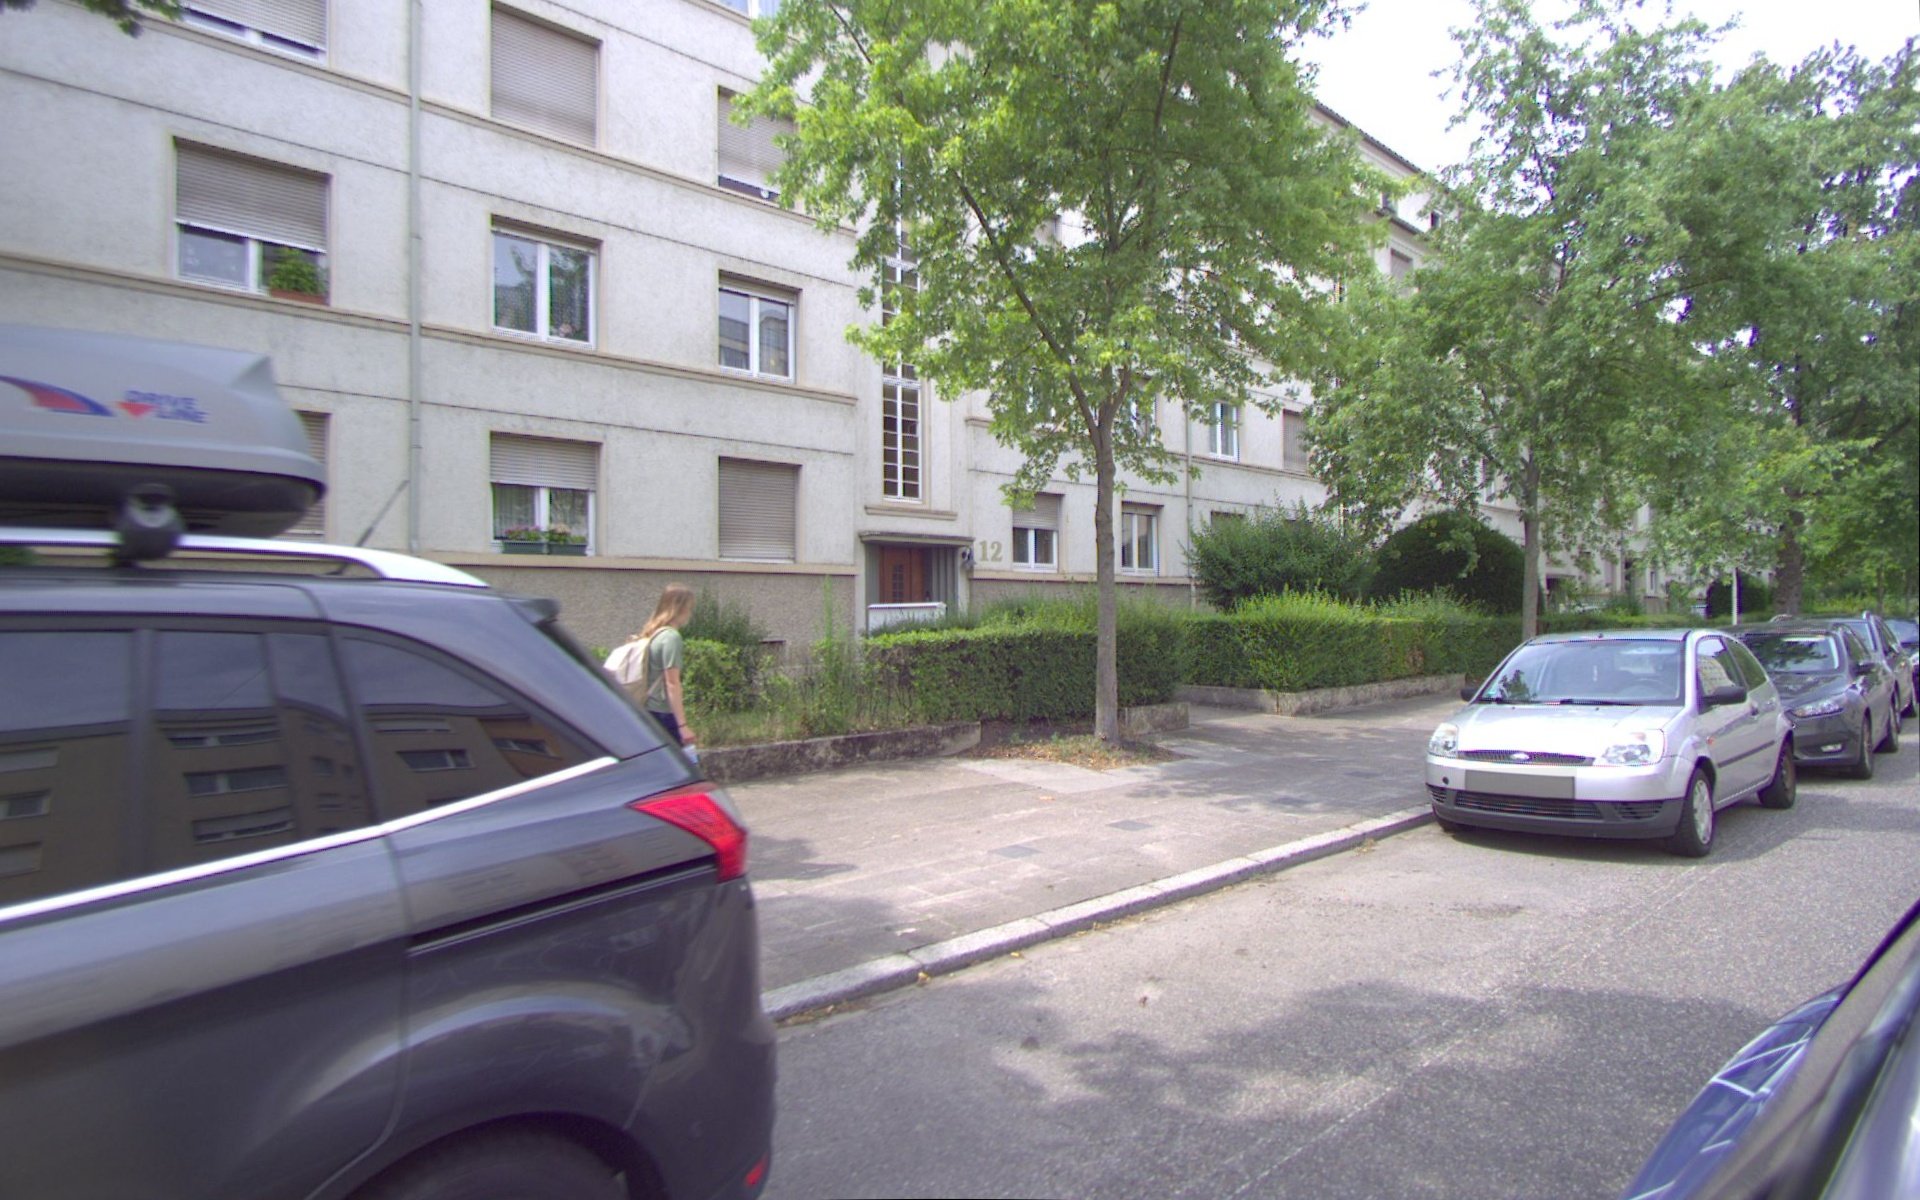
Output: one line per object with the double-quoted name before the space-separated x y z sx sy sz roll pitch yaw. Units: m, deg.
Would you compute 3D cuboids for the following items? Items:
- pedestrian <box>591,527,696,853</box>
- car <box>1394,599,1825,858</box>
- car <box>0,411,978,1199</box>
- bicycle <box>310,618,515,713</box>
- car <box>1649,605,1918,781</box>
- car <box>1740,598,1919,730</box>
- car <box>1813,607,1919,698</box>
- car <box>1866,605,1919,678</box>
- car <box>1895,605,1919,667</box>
"pedestrian" -1.876 0.509 6.044 0.513 1.851 0.524 0 -1 -7
"car" 5.116 0.769 7.761 3.964 1.475 1.662 0 -2 -40
"car" -2.544 0.650 1.359 5.235 1.683 1.928 0 -3 -43
"bicycle" -6.989 0.801 13.006 2.208 1.126 0.710 1 -2 -41
"car" 8.874 0.836 10.763 4.318 1.488 1.618 0 -2 -43
"car" 12.548 0.816 14.311 4.213 1.603 1.660 0 -3 -43
"car" 16.779 0.894 18.195 3.822 1.488 1.661 1 -2 -42
"car" 20.898 0.865 21.794 3.661 1.488 1.661 1 -2 -42
"car" 25.154 0.837 25.341 4.530 1.488 1.783 0 -2 -38
